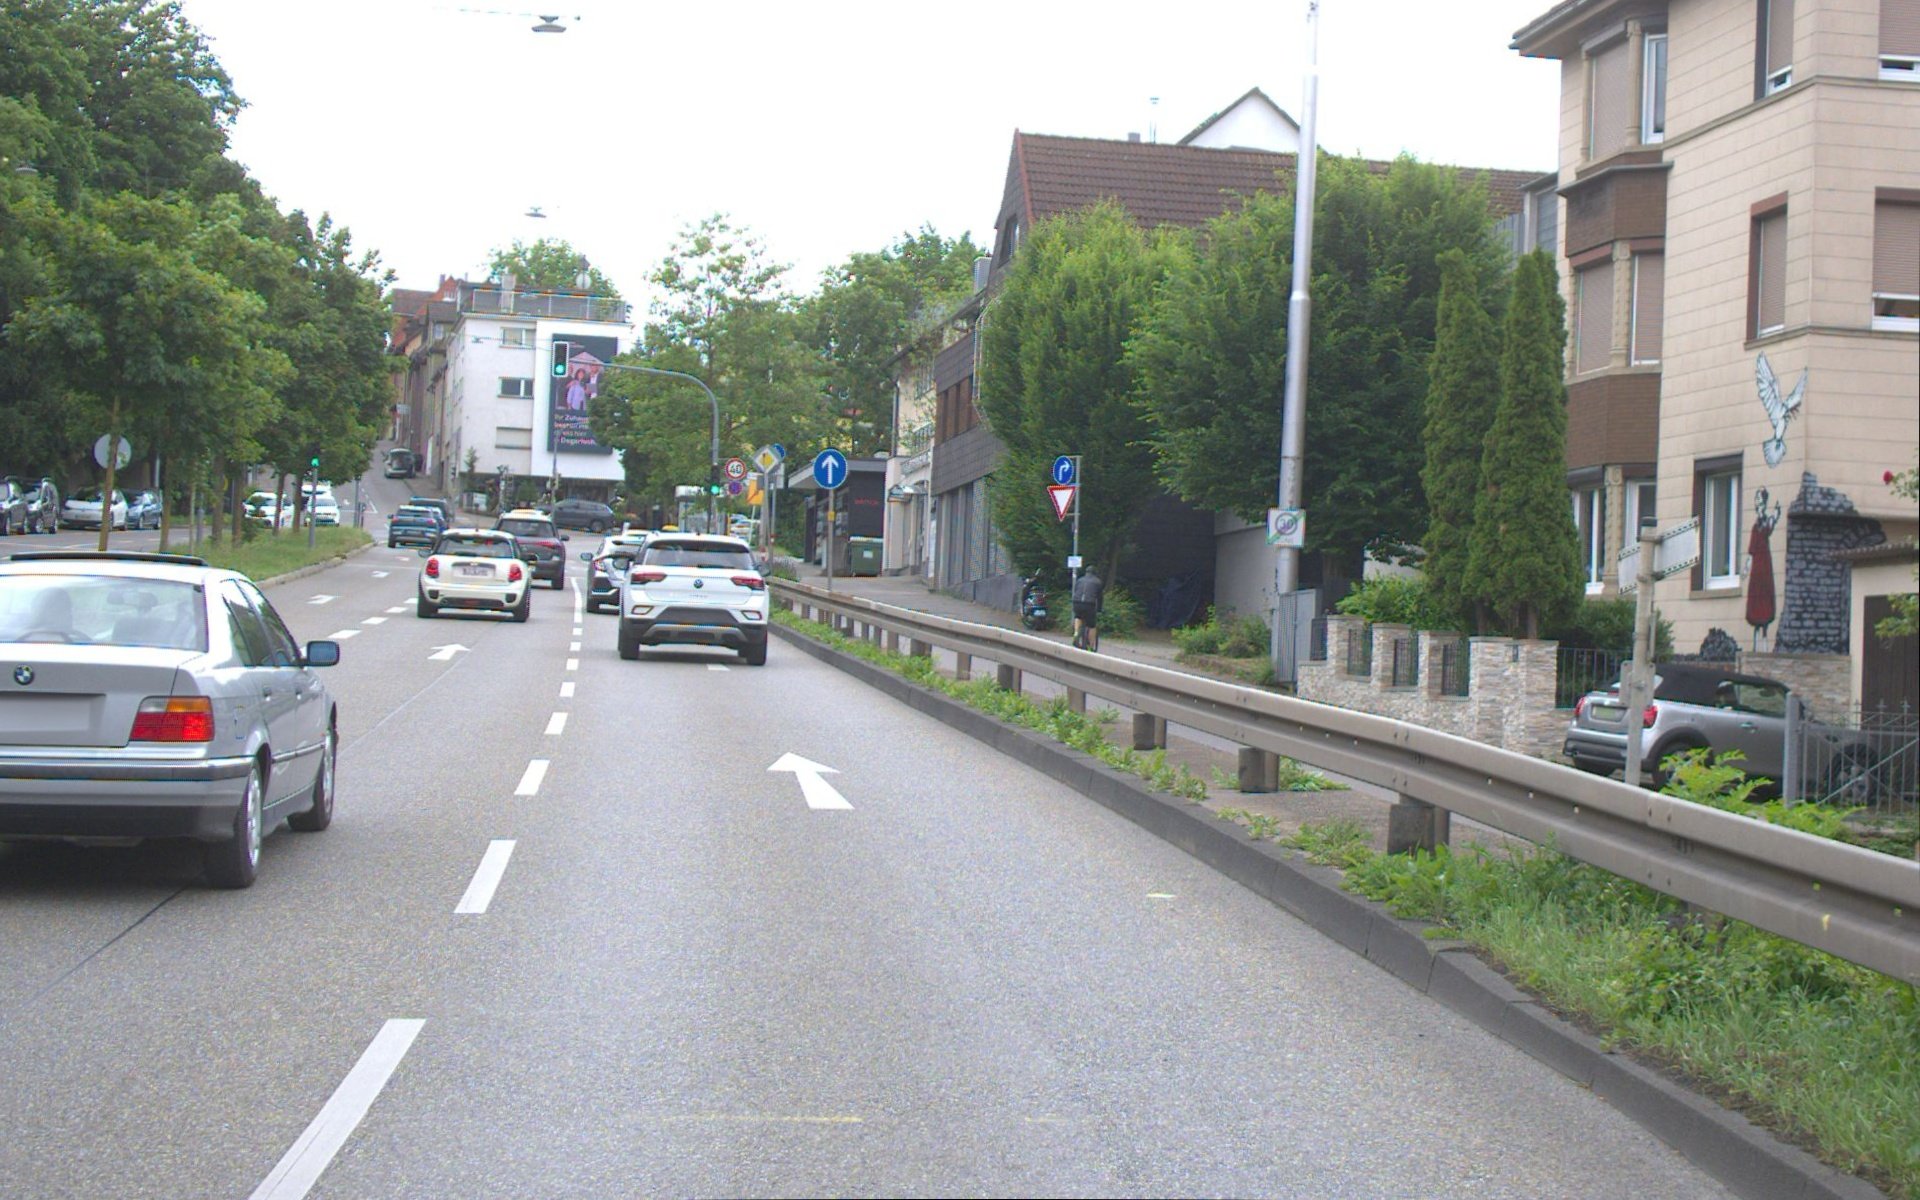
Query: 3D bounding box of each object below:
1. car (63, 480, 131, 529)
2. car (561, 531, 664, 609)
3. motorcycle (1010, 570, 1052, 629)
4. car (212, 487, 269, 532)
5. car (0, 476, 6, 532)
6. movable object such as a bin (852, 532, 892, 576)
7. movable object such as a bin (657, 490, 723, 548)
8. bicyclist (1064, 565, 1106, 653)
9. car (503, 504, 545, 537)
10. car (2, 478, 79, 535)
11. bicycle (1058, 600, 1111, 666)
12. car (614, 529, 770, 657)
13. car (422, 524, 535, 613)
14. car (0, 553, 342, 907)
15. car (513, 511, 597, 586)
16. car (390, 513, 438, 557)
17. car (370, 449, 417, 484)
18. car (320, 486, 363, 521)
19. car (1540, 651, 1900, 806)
[{"bbox_3d":[-31.185,-3.483,124.323,1.859,1.588,4.281,4,2,-9],"label":"car"},{"bbox_3d":[-6.346,-0.555,62.497,1.722,1.371,3.457,0,1,-8],"label":"car"},{"bbox_3d":[1.507,-0.018,73.477,0.608,1.158,2.041,1,2,-6],"label":"motorcycle"},{"bbox_3d":[-29.448,-3.734,140.845,1.859,1.664,4.281,4,2,-8],"label":"car"},{"bbox_3d":[-29.582,-2.894,101.935,1.859,1.664,4.281,4,2,-9],"label":"car"},{"bbox_3d":[-2.988,-1.549,116.214,1.195,1.403,0.711,4,1,-7],"label":"movable object such as a bin"},{"bbox_3d":[-9.311,-2.797,118.530,1.891,1.863,1.529,4,1,-15],"label":"movable object such as a bin"},{"bbox_3d":[2.183,0.152,60.300,0.566,1.519,0.959,0,2,-9],"label":"bicyclist"},{"bbox_3d":[-18.109,-3.293,142.886,1.722,1.371,3.457,0,1,-7],"label":"car"},{"bbox_3d":[-29.984,-3.077,112.242,1.859,1.664,4.281,4,2,-9],"label":"car"},{"bbox_3d":[2.175,0.568,60.397,0.566,1.059,2.006,0,2,-9],"label":"bicycle"},{"bbox_3d":[-3.345,-0.110,42.447,1.796,1.514,3.457,0,1,-6],"label":"car"},{"bbox_3d":[-7.686,-0.512,54.782,1.722,1.371,3.457,0,1,-9],"label":"car"},{"bbox_3d":[-3.861,0.485,15.799,1.634,1.378,4.621,1,1,-6],"label":"car"},{"bbox_3d":[-9.148,-1.160,77.494,1.722,1.634,3.457,0,1,-9],"label":"car"},{"bbox_3d":[-19.949,-2.374,125.566,1.722,1.577,3.457,0,1,-9],"label":"car"},{"bbox_3d":[-36.095,-8.516,219.241,2.510,2.006,5.182,4,2,-6],"label":"car"},{"bbox_3d":[-30.124,-4.697,167.542,1.859,1.535,4.281,4,2,-9],"label":"car"},{"bbox_3d":[8.712,1.472,39.432,3.602,1.430,1.705,5,1,-22],"label":"car"}]
